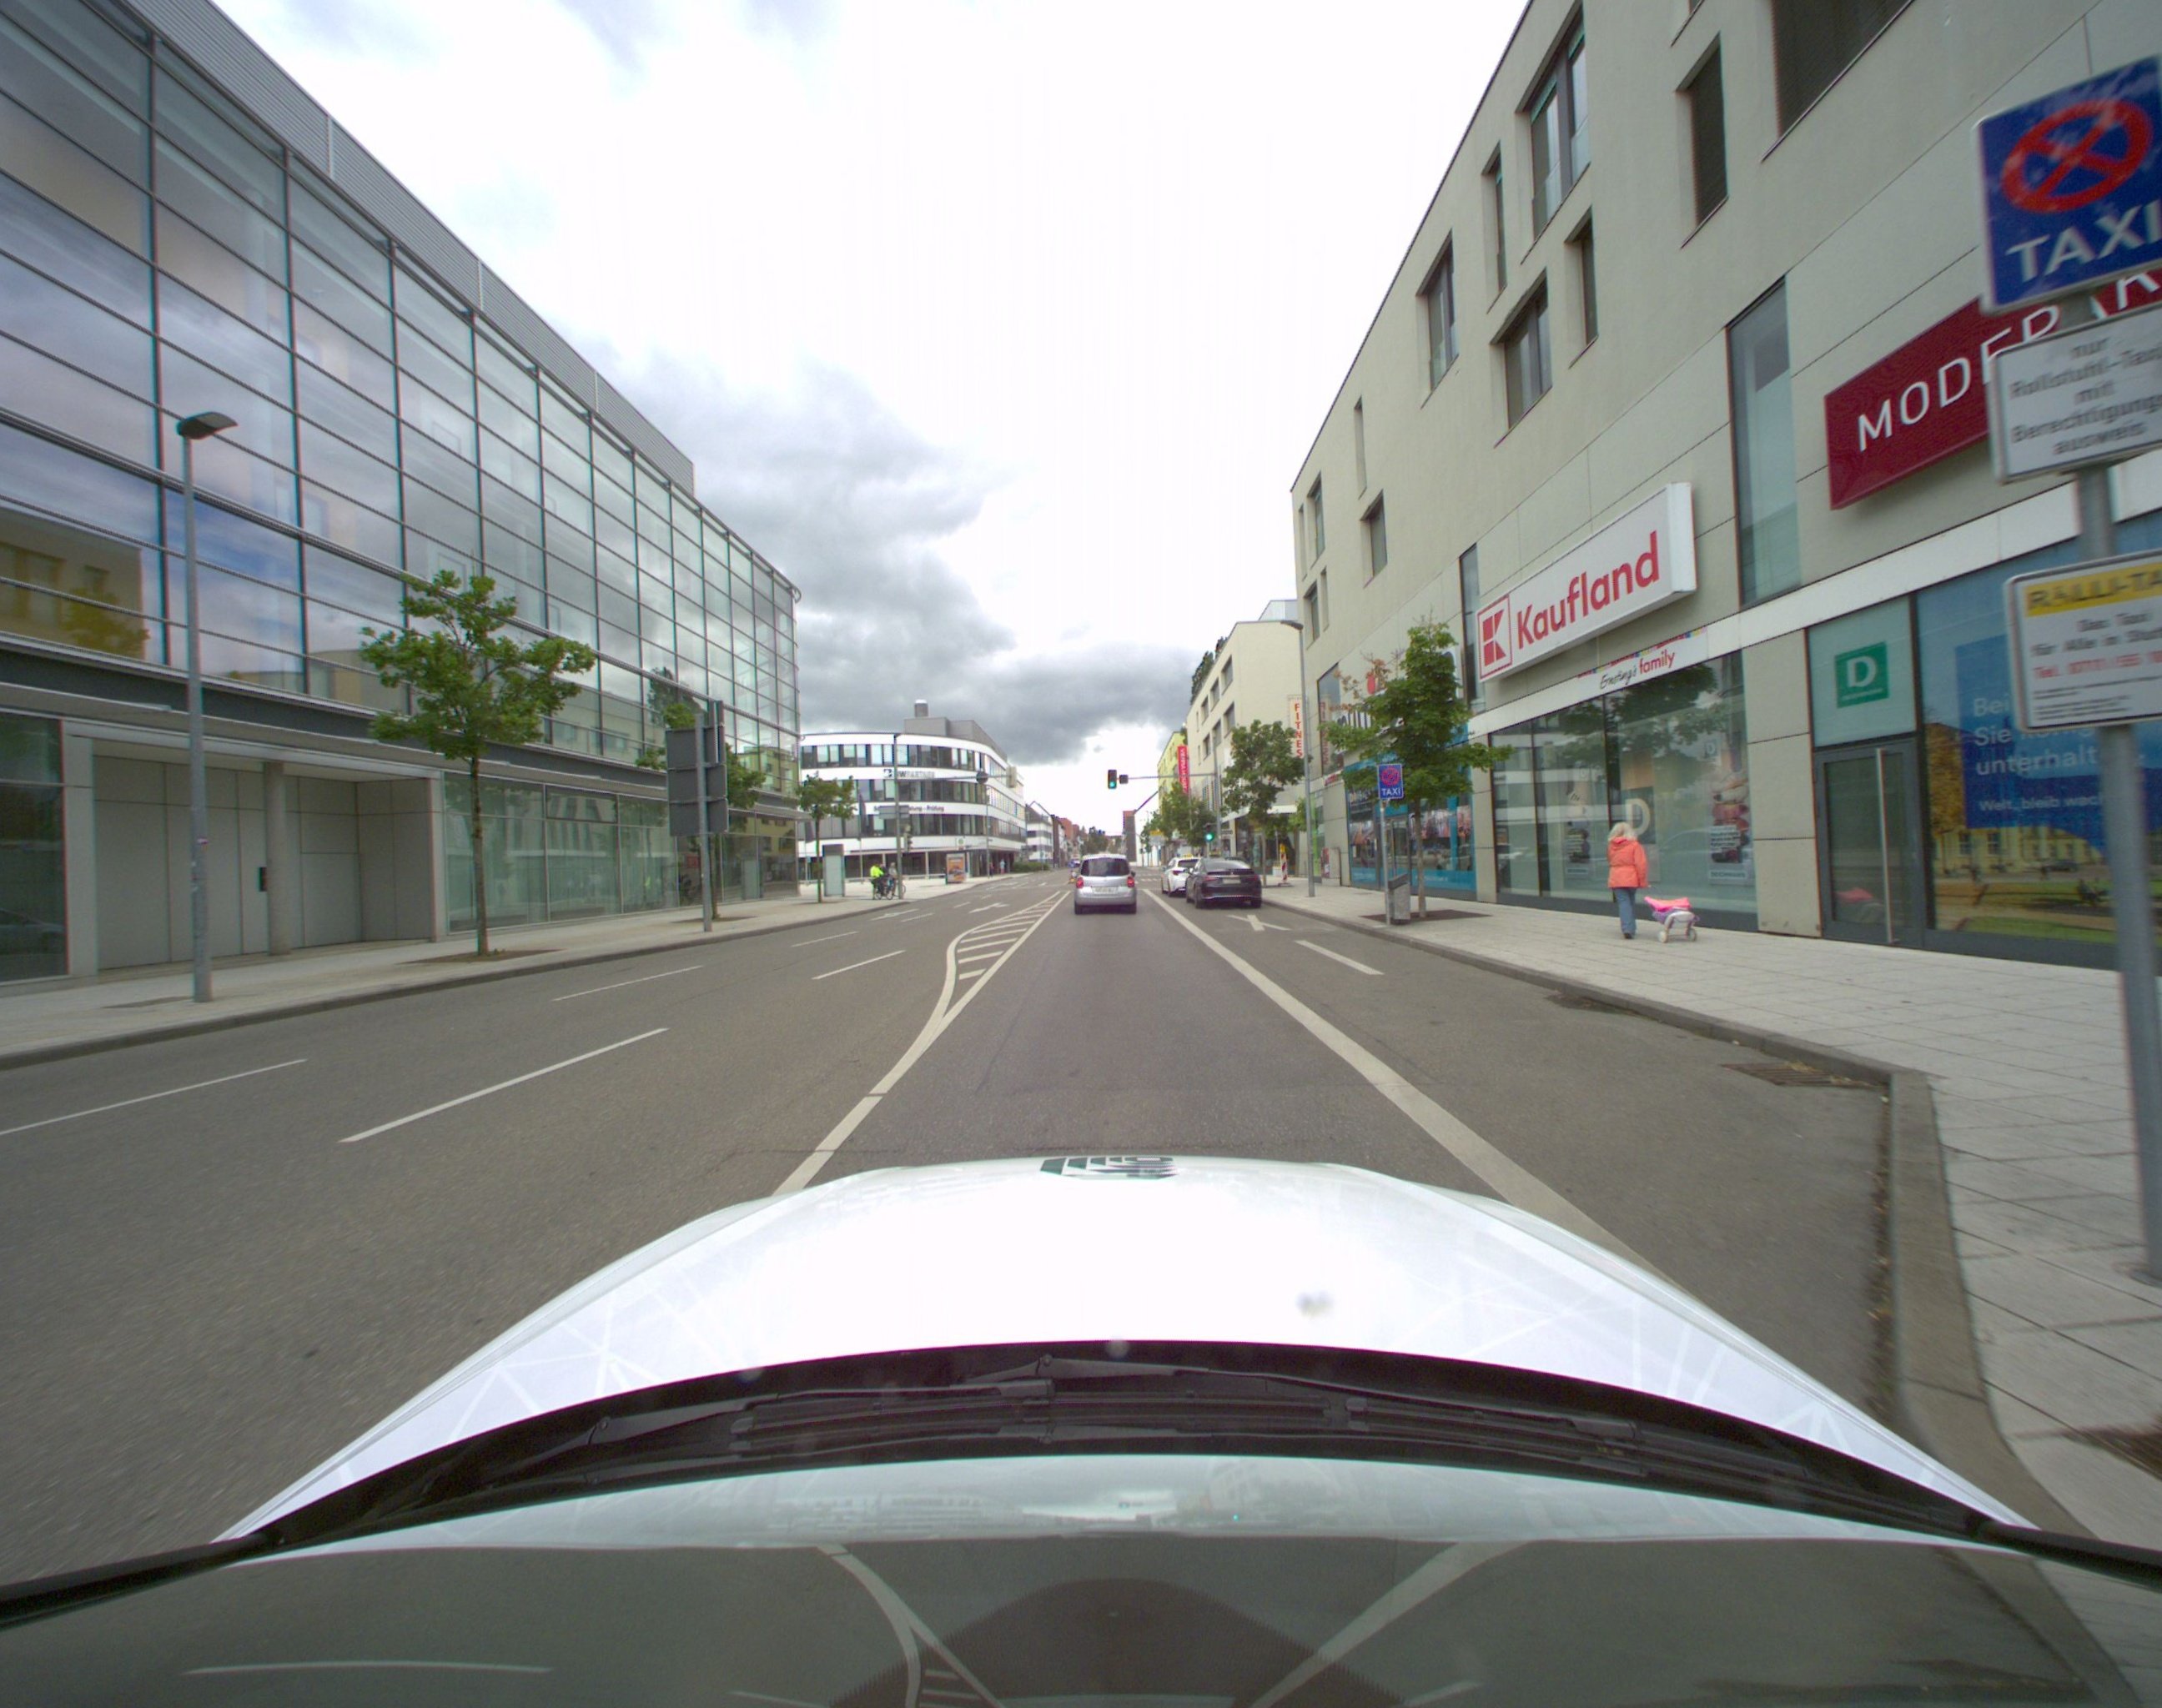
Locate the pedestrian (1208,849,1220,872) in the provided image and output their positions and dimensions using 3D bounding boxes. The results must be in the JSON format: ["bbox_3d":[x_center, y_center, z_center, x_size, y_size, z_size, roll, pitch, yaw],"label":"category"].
[{"bbox_3d":[9.894,0.469,60.599,0.741,1.669,0.614,-2,-1,2],"label":"pedestrian"}]

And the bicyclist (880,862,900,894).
[{"bbox_3d":[-9.727,1.212,41.484,0.775,1.649,0.641,0,-1,17],"label":"bicyclist"}]

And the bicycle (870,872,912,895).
[{"bbox_3d":[-9.670,1.487,41.457,1.984,1.130,0.641,0,-1,16],"label":"bicycle"}]

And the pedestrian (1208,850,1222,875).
[{"bbox_3d":[8.512,0.540,51.741,0.738,1.608,0.715,-2,-1,2],"label":"pedestrian"}]

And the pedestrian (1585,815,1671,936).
[{"bbox_3d":[7.428,0.283,11.082,0.586,1.567,0.732,-4,0,1],"label":"pedestrian"}]

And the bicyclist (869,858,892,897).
[{"bbox_3d":[-9.440,1.100,38.406,0.752,1.800,0.764,1,-1,-44],"label":"bicyclist"}]

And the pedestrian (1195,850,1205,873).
[{"bbox_3d":[8.796,0.526,60.210,0.652,1.669,0.614,-2,-1,2],"label":"pedestrian"}]

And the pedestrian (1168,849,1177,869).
[{"bbox_3d":[8.243,0.457,73.058,0.717,1.683,0.734,-3,-1,7],"label":"pedestrian"}]

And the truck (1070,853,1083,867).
[{"bbox_3d":[-1.046,1.244,183.123,2.426,2.953,8.367,-3,-1,2],"label":"truck"}]

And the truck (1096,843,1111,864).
[{"bbox_3d":[4.365,-0.155,156.778,2.585,3.857,6.852,-2,0,2],"label":"truck"}]

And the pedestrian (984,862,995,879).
[{"bbox_3d":[-8.592,1.514,76.436,0.826,1.567,0.814,-1,-1,7],"label":"pedestrian"}]

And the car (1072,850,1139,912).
[{"bbox_3d":[0.677,0.715,22.880,1.700,1.579,4.001,0,-1,2],"label":"car"}]

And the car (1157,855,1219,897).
[{"bbox_3d":[3.939,0.770,30.617,1.776,1.425,4.515,-1,-1,1],"label":"car"}]

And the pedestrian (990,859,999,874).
[{"bbox_3d":[-9.280,1.303,87.178,0.727,1.613,0.932,-1,-1,3],"label":"pedestrian"}]

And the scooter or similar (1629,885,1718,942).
[{"bbox_3d":[7.493,0.743,10.328,0.549,0.634,0.768,-4,0,1],"label":"scooter or similar"}]

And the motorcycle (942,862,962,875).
[{"bbox_3d":[-12.943,1.448,81.881,1.845,1.333,0.637,0,-1,5],"label":"motorcycle"}]

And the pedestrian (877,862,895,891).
[{"bbox_3d":[-13.239,1.498,55.220,0.907,1.945,0.742,0,-1,-37],"label":"pedestrian"}]

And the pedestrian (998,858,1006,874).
[{"bbox_3d":[-8.365,1.267,86.062,0.727,1.674,0.932,-1,-1,3],"label":"pedestrian"}]

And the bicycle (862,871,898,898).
[{"bbox_3d":[-9.524,1.413,38.494,0.752,1.206,2.006,1,-1,-44],"label":"bicycle"}]

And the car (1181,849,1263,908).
[{"bbox_3d":[4.077,0.675,24.185,1.730,1.542,4.792,0,0,2],"label":"car"}]

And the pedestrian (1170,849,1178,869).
[{"bbox_3d":[8.229,0.434,71.735,0.576,1.769,0.858,-3,-1,7],"label":"pedestrian"}]
